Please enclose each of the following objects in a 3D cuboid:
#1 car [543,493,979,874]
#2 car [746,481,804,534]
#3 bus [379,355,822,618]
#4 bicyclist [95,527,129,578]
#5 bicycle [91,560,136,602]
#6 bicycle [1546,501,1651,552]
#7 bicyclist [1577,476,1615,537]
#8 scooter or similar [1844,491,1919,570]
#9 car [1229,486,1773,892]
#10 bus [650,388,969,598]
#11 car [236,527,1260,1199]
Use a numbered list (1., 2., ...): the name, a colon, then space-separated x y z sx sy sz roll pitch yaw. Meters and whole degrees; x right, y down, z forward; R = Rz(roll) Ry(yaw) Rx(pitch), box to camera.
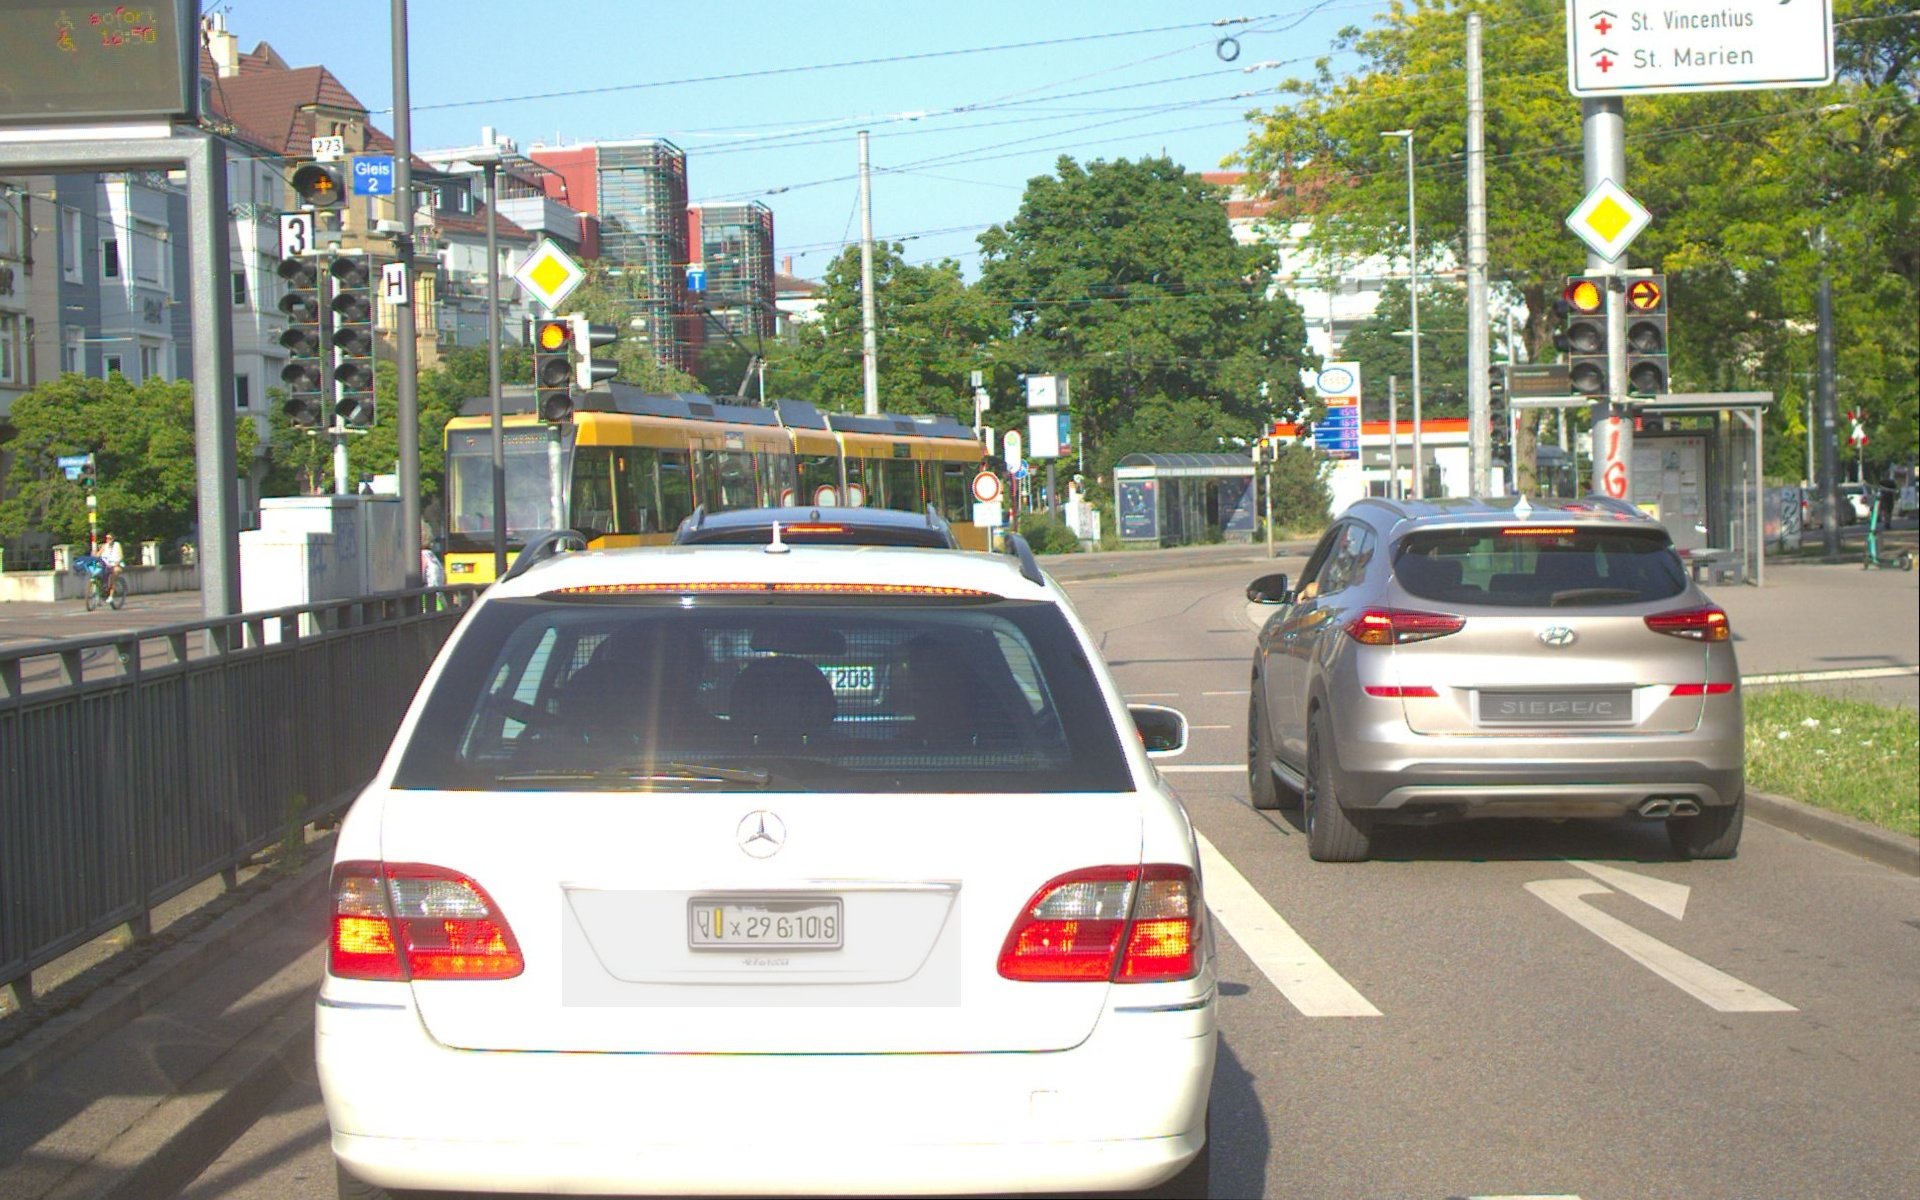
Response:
1. car: -0.902 0.324 16.847 1.885 1.645 3.648 1 1 -1
2. car: -7.214 -3.607 134.448 2.075 2.007 4.163 1 1 -1
3. bus: -5.210 -1.636 53.370 3.110 3.593 12.368 1 1 12
4. bicyclist: -17.672 -0.993 71.674 0.512 1.041 0.679 -2 1 -1
5. bicycle: -17.649 -0.392 71.684 0.526 0.831 1.686 -2 1 -1
6. bicycle: 15.925 -1.843 85.792 2.483 1.209 0.806 -1 1 7
7. bicyclist: 15.872 -2.333 85.782 0.861 1.476 0.789 -1 1 7
8. scooter or similar: 13.412 -1.005 49.906 0.419 1.113 1.330 -2 1 -21
9. car: 2.413 0.331 16.237 1.885 1.645 3.648 -2 1 -1
10. bus: -2.595 -1.924 65.571 3.110 3.593 12.585 1 1 11
11. car: -0.407 0.570 7.873 1.796 1.465 3.648 0 1 -1
